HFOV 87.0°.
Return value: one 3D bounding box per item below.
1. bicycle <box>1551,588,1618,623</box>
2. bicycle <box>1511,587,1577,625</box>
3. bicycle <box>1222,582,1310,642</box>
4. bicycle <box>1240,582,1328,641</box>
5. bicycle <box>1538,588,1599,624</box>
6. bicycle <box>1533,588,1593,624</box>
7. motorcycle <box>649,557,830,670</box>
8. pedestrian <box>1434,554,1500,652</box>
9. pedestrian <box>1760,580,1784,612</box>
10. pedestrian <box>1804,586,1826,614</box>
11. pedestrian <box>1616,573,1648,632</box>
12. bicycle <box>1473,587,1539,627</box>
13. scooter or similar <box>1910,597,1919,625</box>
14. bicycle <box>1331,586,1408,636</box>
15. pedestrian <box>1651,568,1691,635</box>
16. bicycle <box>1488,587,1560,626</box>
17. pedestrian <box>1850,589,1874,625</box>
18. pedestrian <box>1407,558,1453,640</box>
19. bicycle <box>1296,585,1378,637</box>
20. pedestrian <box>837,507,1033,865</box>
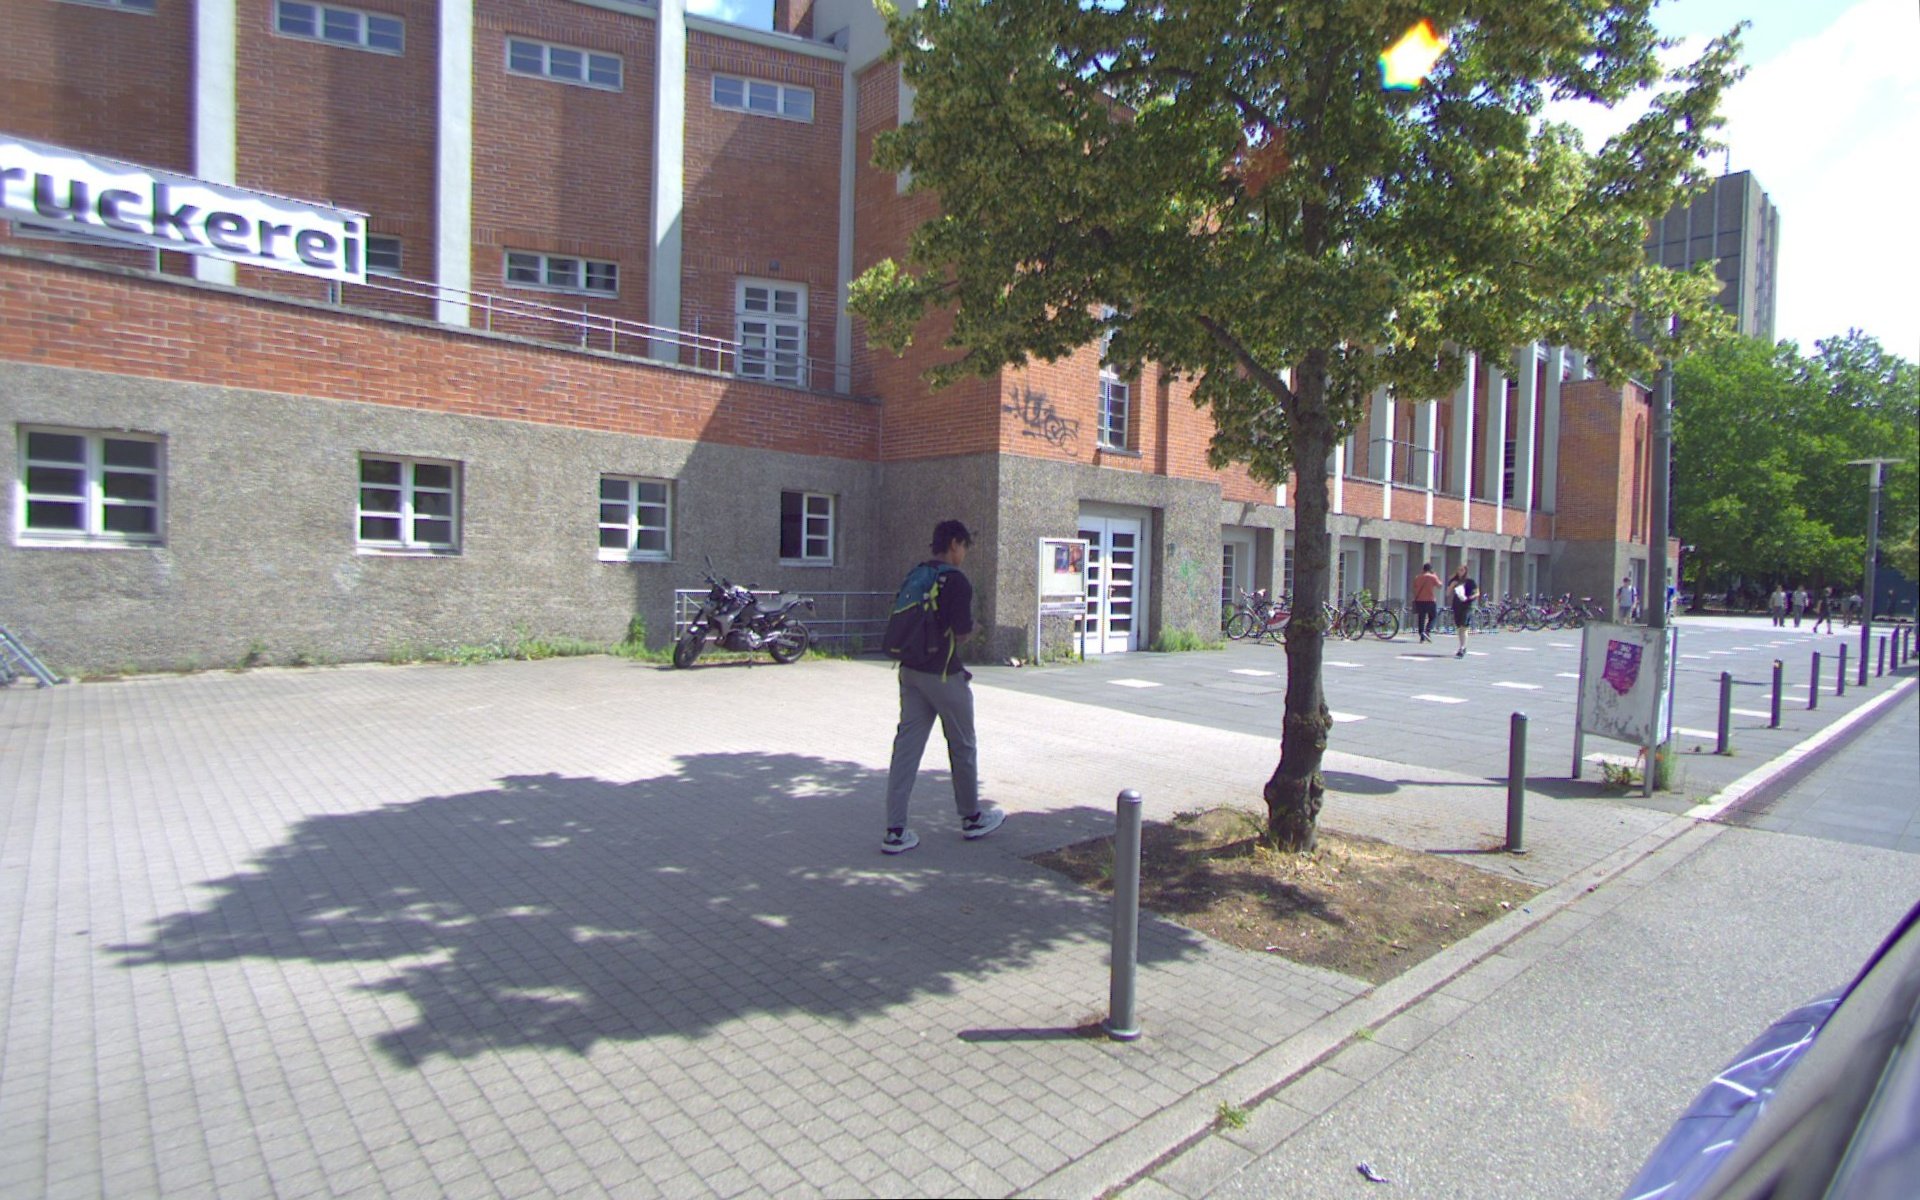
[{"bbox_3d":[22.068,0.185,35.766,0.449,1.123,1.932,0,2,-43],"label":"bicycle"},{"bbox_3d":[19.047,0.182,33.054,0.428,1.123,1.799,0,2,-43],"label":"bicycle"},{"bbox_3d":[6.420,0.235,21.276,0.428,1.164,1.755,0,2,-43],"label":"bicycle"},{"bbox_3d":[7.018,0.230,21.974,0.509,1.164,1.755,0,2,-43],"label":"bicycle"},{"bbox_3d":[20.771,0.201,34.551,0.428,1.123,1.696,0,2,-43],"label":"bicycle"},{"bbox_3d":[20.279,0.188,34.075,0.428,1.123,1.652,0,2,-43],"label":"bicycle"},{"bbox_3d":[-2.792,0.152,12.986,2.181,1.339,0.697,0,2,-41],"label":"motorcycle"},{"bbox_3d":[10.013,0.037,19.977,0.844,1.857,1.179,3,2,42],"label":"pedestrian"},{"bbox_3d":[50.660,-0.260,63.150,0.972,1.970,0.970,0,1,25],"label":"pedestrian"},{"bbox_3d":[52.306,-0.019,61.903,0.743,1.693,0.839,3,1,25],"label":"pedestrian"},{"bbox_3d":[20.334,0.062,30.626,0.585,1.727,0.986,4,3,43],"label":"pedestrian"},{"bbox_3d":[16.556,0.213,30.696,0.428,1.123,1.684,0,2,-43],"label":"bicycle"},{"bbox_3d":[41.820,0.504,43.797,1.448,1.194,0.577,2,2,-29],"label":"scooter or similar"},{"bbox_3d":[9.917,0.250,24.539,0.428,1.123,1.684,0,2,-43],"label":"bicycle"},{"bbox_3d":[21.039,0.036,29.938,1.091,1.913,0.665,-1,3,-43],"label":"pedestrian"},{"bbox_3d":[17.725,0.198,31.859,0.428,1.123,1.913,0,2,-43],"label":"bicycle"},{"bbox_3d":[44.189,0.327,49.580,0.783,1.696,1.062,4,3,44],"label":"pedestrian"},{"bbox_3d":[10.971,-0.028,23.630,0.663,1.857,0.892,3,2,44],"label":"pedestrian"},{"bbox_3d":[8.778,0.239,23.605,0.428,1.123,1.749,0,2,-43],"label":"bicycle"},{"bbox_3d":[-0.125,0.398,5.344,0.641,1.718,0.780,3,2,42],"label":"pedestrian"}]
